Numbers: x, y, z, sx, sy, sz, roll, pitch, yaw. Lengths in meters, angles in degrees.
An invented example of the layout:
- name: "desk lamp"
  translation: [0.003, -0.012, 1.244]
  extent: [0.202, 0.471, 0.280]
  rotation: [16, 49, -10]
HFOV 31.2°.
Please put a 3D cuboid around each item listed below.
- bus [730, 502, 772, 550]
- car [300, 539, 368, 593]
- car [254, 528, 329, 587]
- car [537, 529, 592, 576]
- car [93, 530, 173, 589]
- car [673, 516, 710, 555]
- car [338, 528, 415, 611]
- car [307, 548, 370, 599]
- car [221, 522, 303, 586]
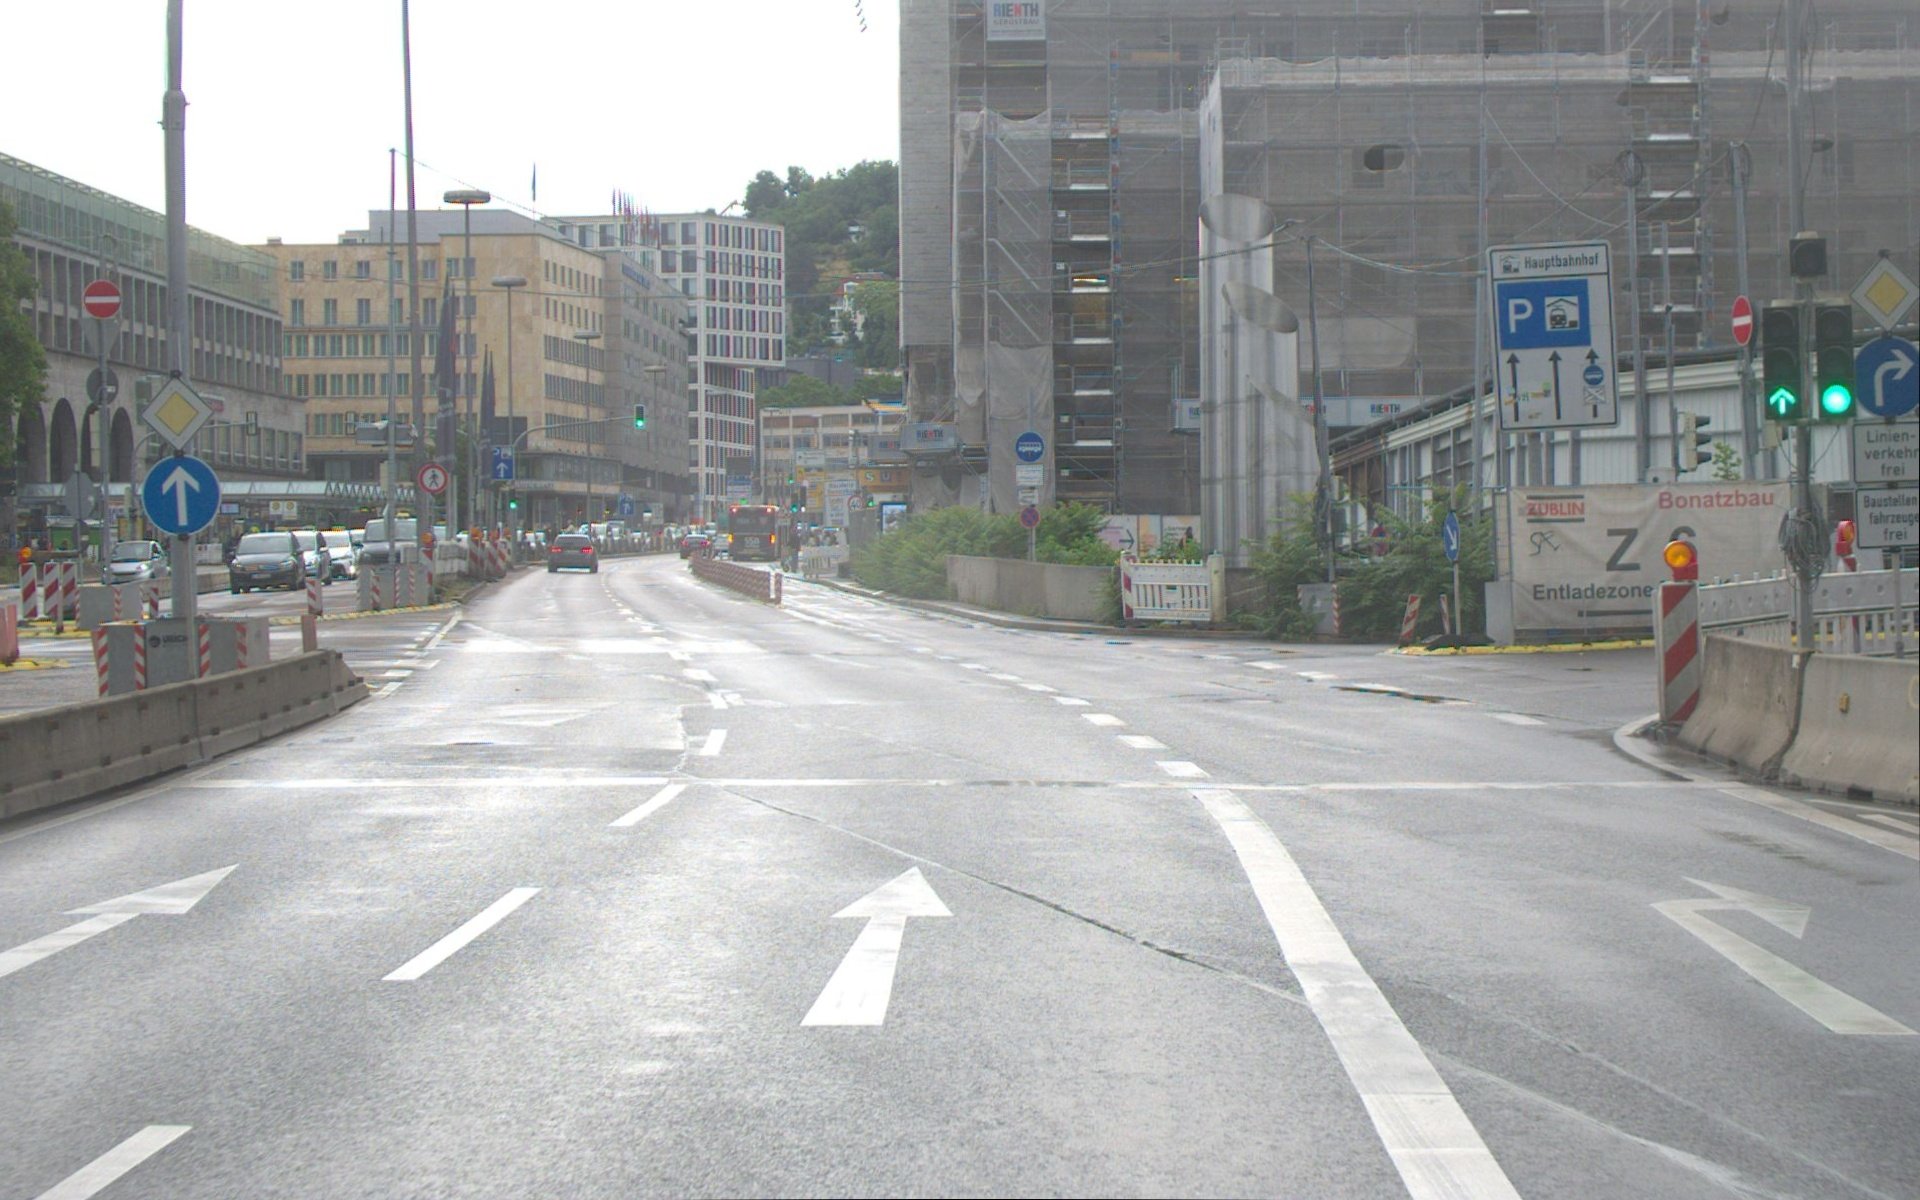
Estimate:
- name: "bus"
  translation: [-11.484, -4.072, 189.351]
  extent: [1.993, 2.423, 4.000]
  rotation: [-3, -1, 0]
- name: "car"
  translation: [-19.920, -1.061, 109.546]
  extent: [1.901, 1.523, 4.178]
  rotation: [-2, -1, -8]
- name: "car"
  translation: [-19.538, -1.231, 100.568]
  extent: [1.901, 1.523, 4.178]
  rotation: [-2, -1, -8]
- name: "car"
  translation: [-14.843, -1.759, 128.904]
  extent: [1.901, 1.523, 4.178]
  rotation: [-2, -1, -8]
- name: "car"
  translation: [-24.698, -1.195, 102.766]
  extent: [1.901, 1.523, 4.178]
  rotation: [-2, -1, -8]
- name: "car"
  translation: [-15.412, -3.708, 197.472]
  extent: [1.993, 2.007, 4.000]
  rotation: [-2, -1, -4]
- name: "car"
  translation: [-16.084, -0.813, 94.931]
  extent: [1.901, 2.075, 4.178]
  rotation: [-2, -1, -8]
- name: "car"
  translation: [-21.133, -0.879, 117.066]
  extent: [1.901, 1.523, 4.178]
  rotation: [-2, -1, -8]
- name: "car"
  translation: [-19.205, -1.255, 94.744]
  extent: [1.901, 1.523, 4.178]
  rotation: [-2, -1, -8]
